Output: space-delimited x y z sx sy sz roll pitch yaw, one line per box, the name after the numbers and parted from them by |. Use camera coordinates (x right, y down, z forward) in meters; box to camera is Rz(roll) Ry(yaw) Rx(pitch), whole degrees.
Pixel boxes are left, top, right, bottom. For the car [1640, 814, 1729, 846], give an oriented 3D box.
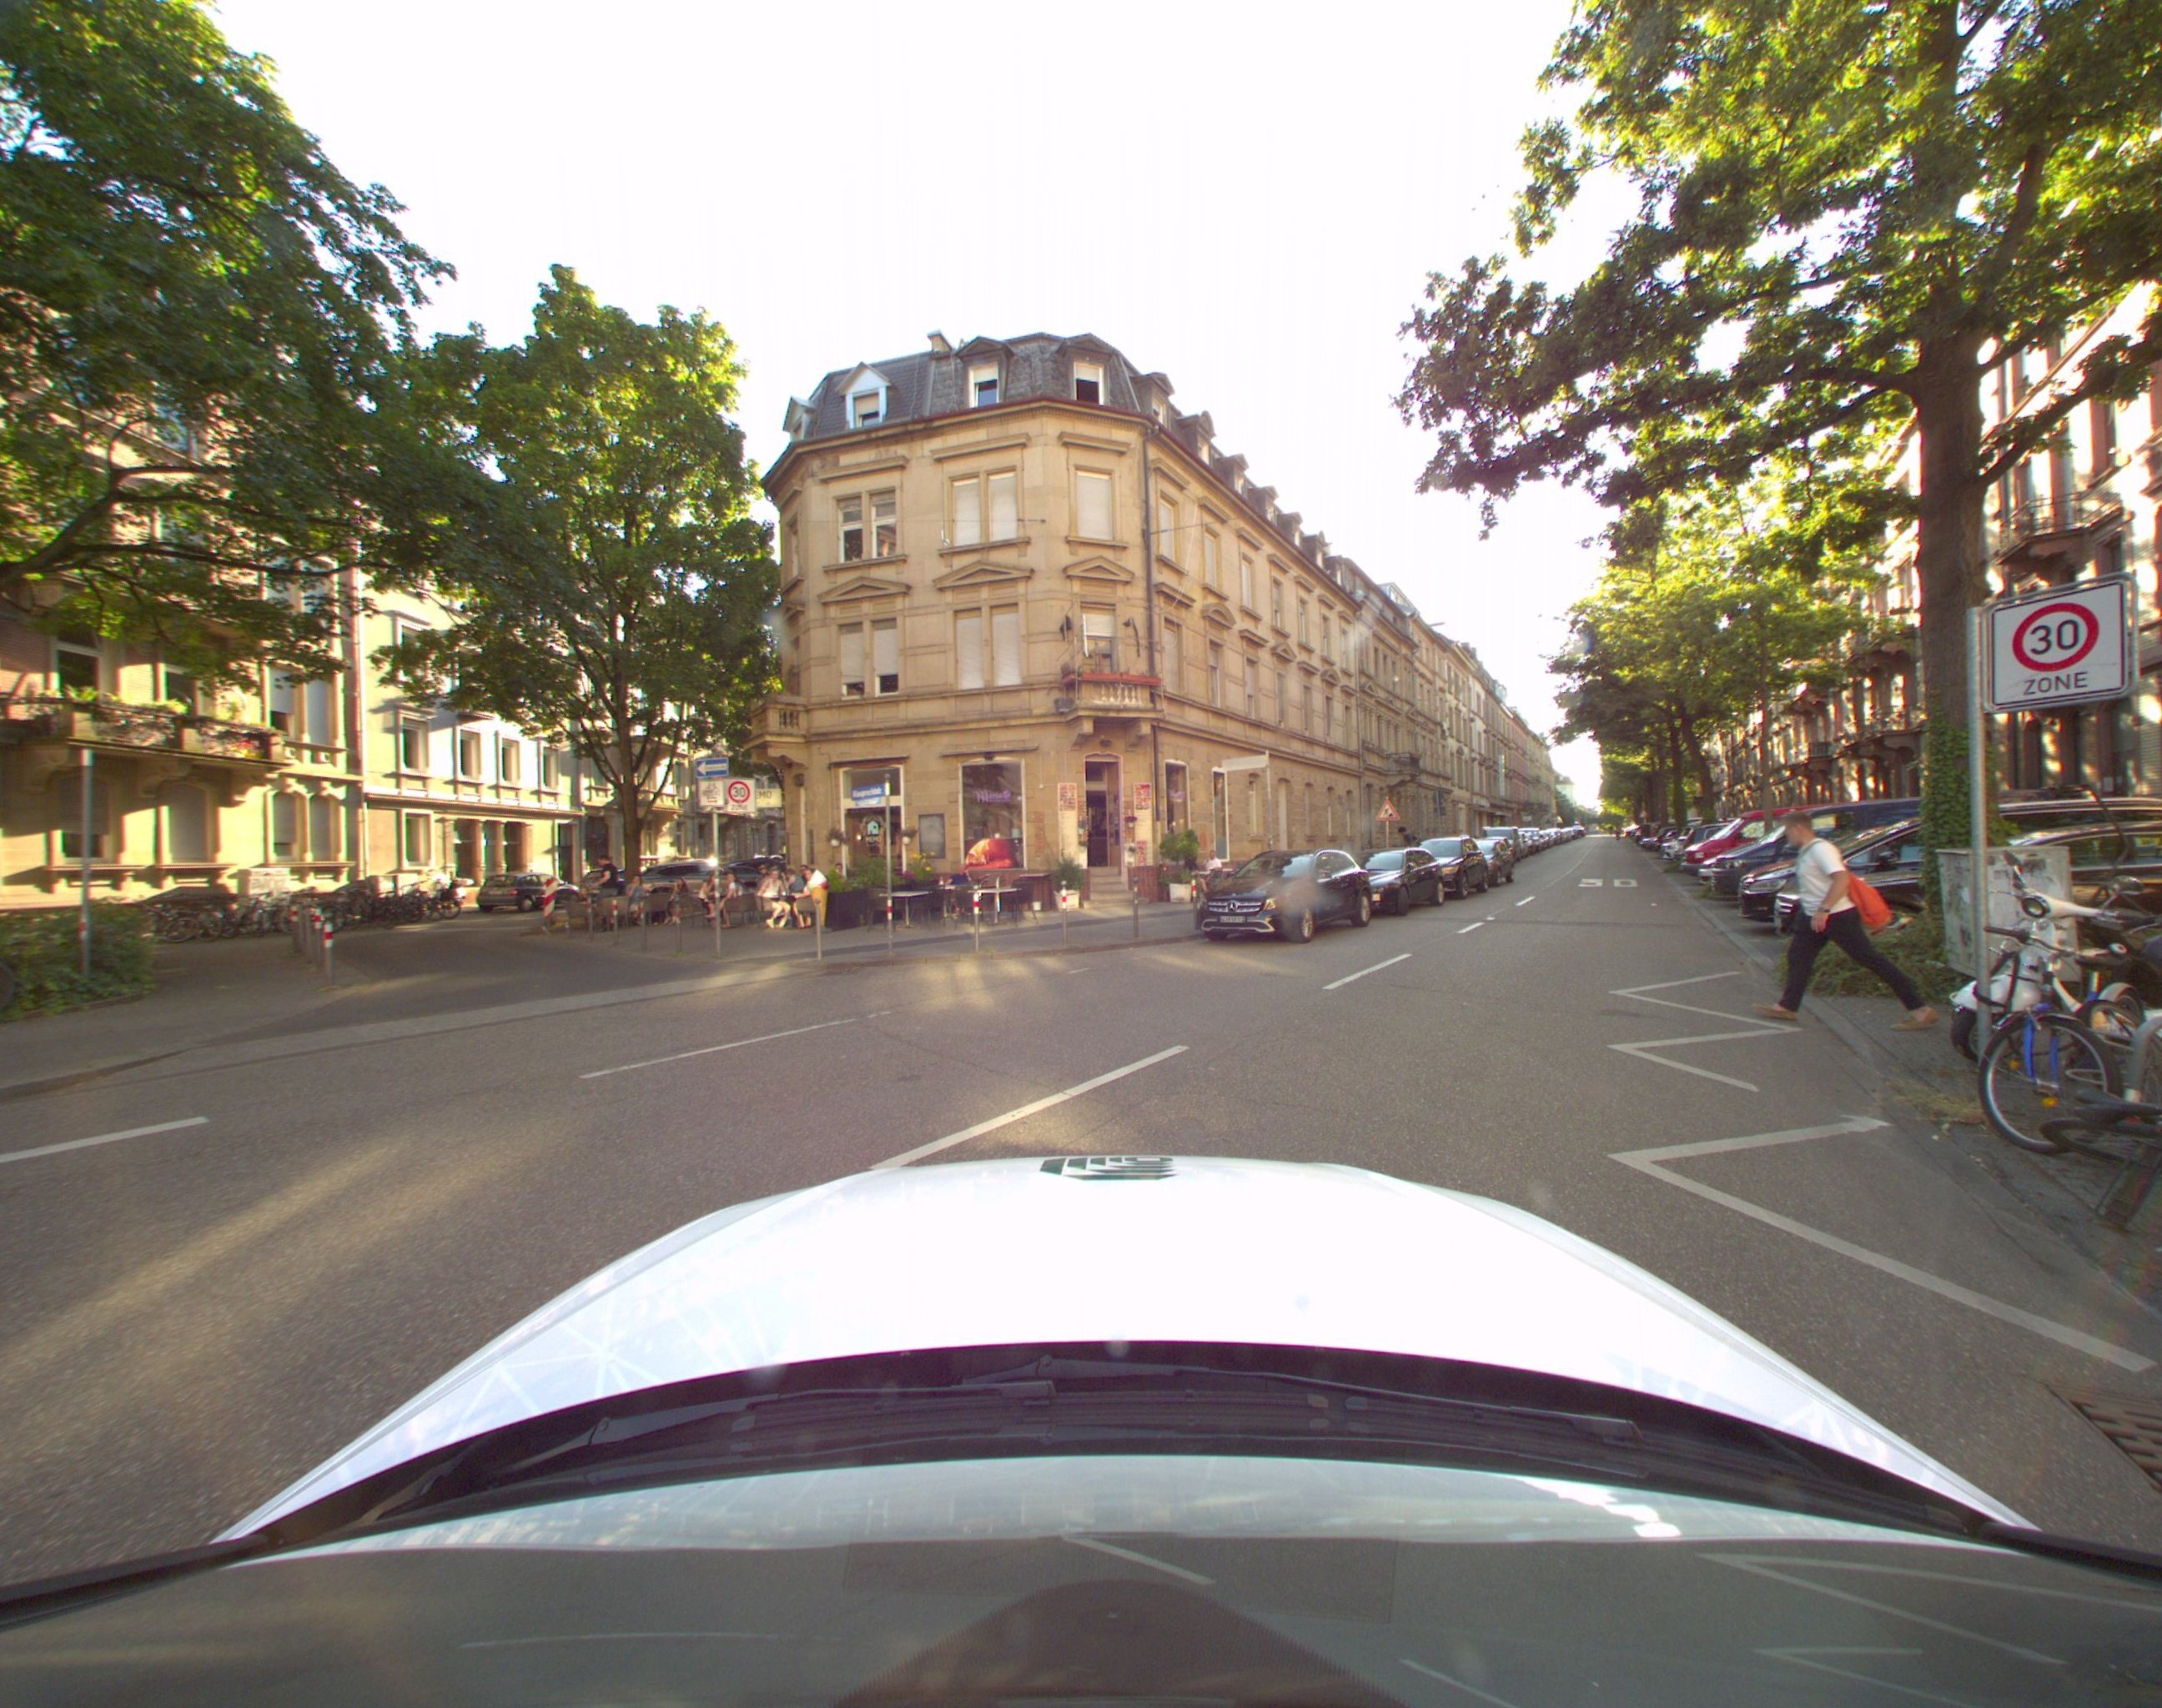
43.909 -1.709 59.391 5.007 1.925 1.847 -4 -1 34 | car

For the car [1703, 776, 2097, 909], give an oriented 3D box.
15.220 -0.141 15.659 4.972 2.215 2.005 -2 0 33 | car

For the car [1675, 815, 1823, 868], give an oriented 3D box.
24.702 -0.446 30.308 3.971 1.628 1.816 -4 -1 32 | car

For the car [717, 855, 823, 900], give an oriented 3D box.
-13.232 0.964 34.648 4.009 1.684 1.982 -2 0 -27 | car

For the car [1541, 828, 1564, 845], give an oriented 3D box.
45.528 -1.673 78.644 1.741 1.473 4.085 -3 0 32 | car

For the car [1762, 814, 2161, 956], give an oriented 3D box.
10.892 0.325 9.190 4.738 1.413 1.863 -4 -1 36 | car

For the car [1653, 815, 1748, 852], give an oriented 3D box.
35.861 -1.154 47.281 4.179 1.776 1.847 -4 -1 32 | car

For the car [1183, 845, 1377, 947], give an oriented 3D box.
3.674 0.660 14.495 1.741 1.488 4.165 -3 -1 38 | car

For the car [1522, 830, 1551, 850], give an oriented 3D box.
35.923 -1.137 64.222 1.741 1.473 4.085 -3 0 32 | car

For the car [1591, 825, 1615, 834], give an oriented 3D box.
112.290 -5.329 175.194 3.949 1.859 1.762 -1 1 42 | car

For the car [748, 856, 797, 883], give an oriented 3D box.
-20.601 0.987 54.484 1.801 1.684 3.751 -2 0 0 | car

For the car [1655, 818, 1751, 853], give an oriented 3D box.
34.149 -0.982 44.836 3.971 1.607 1.745 -4 -1 33 | car

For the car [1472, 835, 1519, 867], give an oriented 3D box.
20.696 -0.195 40.584 1.577 1.475 3.723 0 2 35 | car

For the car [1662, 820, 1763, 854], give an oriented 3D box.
33.091 -0.862 42.803 3.971 1.467 1.745 -4 -1 33 | car

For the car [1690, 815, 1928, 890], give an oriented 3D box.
17.463 -0.001 19.856 4.014 1.510 1.891 -4 -1 33 | car

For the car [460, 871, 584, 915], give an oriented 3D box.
-20.353 1.388 29.847 1.917 1.376 3.751 -2 0 0 | car

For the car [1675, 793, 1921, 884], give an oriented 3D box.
19.121 -0.367 22.073 4.629 2.033 1.891 -4 -1 31 | car

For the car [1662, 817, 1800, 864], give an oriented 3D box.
27.295 -0.553 34.414 4.301 1.556 1.862 -5 0 33 | car

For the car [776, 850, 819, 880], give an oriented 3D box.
-20.759 0.779 59.770 1.801 2.085 3.751 -2 0 0 | car

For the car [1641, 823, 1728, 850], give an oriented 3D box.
38.289 -1.109 51.811 4.180 1.403 1.846 -4 -1 29 | car

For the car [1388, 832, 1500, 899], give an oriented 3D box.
10.220 0.264 22.739 1.741 1.600 4.580 -3 0 38 | car

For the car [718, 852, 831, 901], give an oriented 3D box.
-12.026 0.856 32.244 3.997 1.684 1.988 -2 0 -18 | car

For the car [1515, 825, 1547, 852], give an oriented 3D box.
33.208 -1.134 60.073 1.741 1.842 4.559 -3 0 32 | car

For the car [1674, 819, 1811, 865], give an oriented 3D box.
26.112 -0.448 32.335 3.971 1.434 1.806 -5 -2 33 | car

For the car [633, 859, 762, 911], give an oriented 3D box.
-13.320 1.022 28.347 3.850 1.562 1.785 -2 0 -32 | car

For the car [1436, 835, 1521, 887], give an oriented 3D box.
13.287 0.198 27.073 1.741 1.501 4.086 -3 0 37 | car

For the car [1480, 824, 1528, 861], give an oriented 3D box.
23.622 -0.661 45.363 1.814 1.943 5.294 0 2 33 | car

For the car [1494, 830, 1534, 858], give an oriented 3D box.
26.816 -0.625 50.407 1.736 1.608 4.412 0 2 34 | car

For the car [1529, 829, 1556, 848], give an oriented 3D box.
39.324 -1.327 69.332 1.741 1.473 4.085 -3 0 32 | car

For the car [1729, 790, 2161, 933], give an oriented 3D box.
12.051 0.157 11.334 4.642 1.679 1.863 -4 -1 39 | car

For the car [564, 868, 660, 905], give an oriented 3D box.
-20.099 1.338 35.099 1.917 1.376 3.751 -2 0 0 | car

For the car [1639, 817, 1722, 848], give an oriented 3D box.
41.502 -1.482 56.481 4.190 1.795 1.842 -4 -1 14 | car

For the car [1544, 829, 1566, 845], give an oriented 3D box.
48.141 -1.743 82.666 1.741 1.473 4.085 -3 0 32 | car

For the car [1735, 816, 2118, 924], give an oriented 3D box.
13.462 0.264 13.393 4.066 1.534 1.736 -2 0 34 | car

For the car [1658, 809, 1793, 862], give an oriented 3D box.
28.752 -0.808 36.537 4.400 1.924 1.862 -5 0 31 | car

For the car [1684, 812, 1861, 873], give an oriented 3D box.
22.046 -0.338 26.210 4.145 1.628 1.849 -4 -1 37 | car

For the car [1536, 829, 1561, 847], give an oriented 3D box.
42.104 -1.451 73.374 1.741 1.473 4.085 -3 0 32 | car

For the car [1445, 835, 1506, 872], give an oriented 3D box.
17.936 -0.047 36.901 1.741 1.501 4.086 -3 0 36 | car
